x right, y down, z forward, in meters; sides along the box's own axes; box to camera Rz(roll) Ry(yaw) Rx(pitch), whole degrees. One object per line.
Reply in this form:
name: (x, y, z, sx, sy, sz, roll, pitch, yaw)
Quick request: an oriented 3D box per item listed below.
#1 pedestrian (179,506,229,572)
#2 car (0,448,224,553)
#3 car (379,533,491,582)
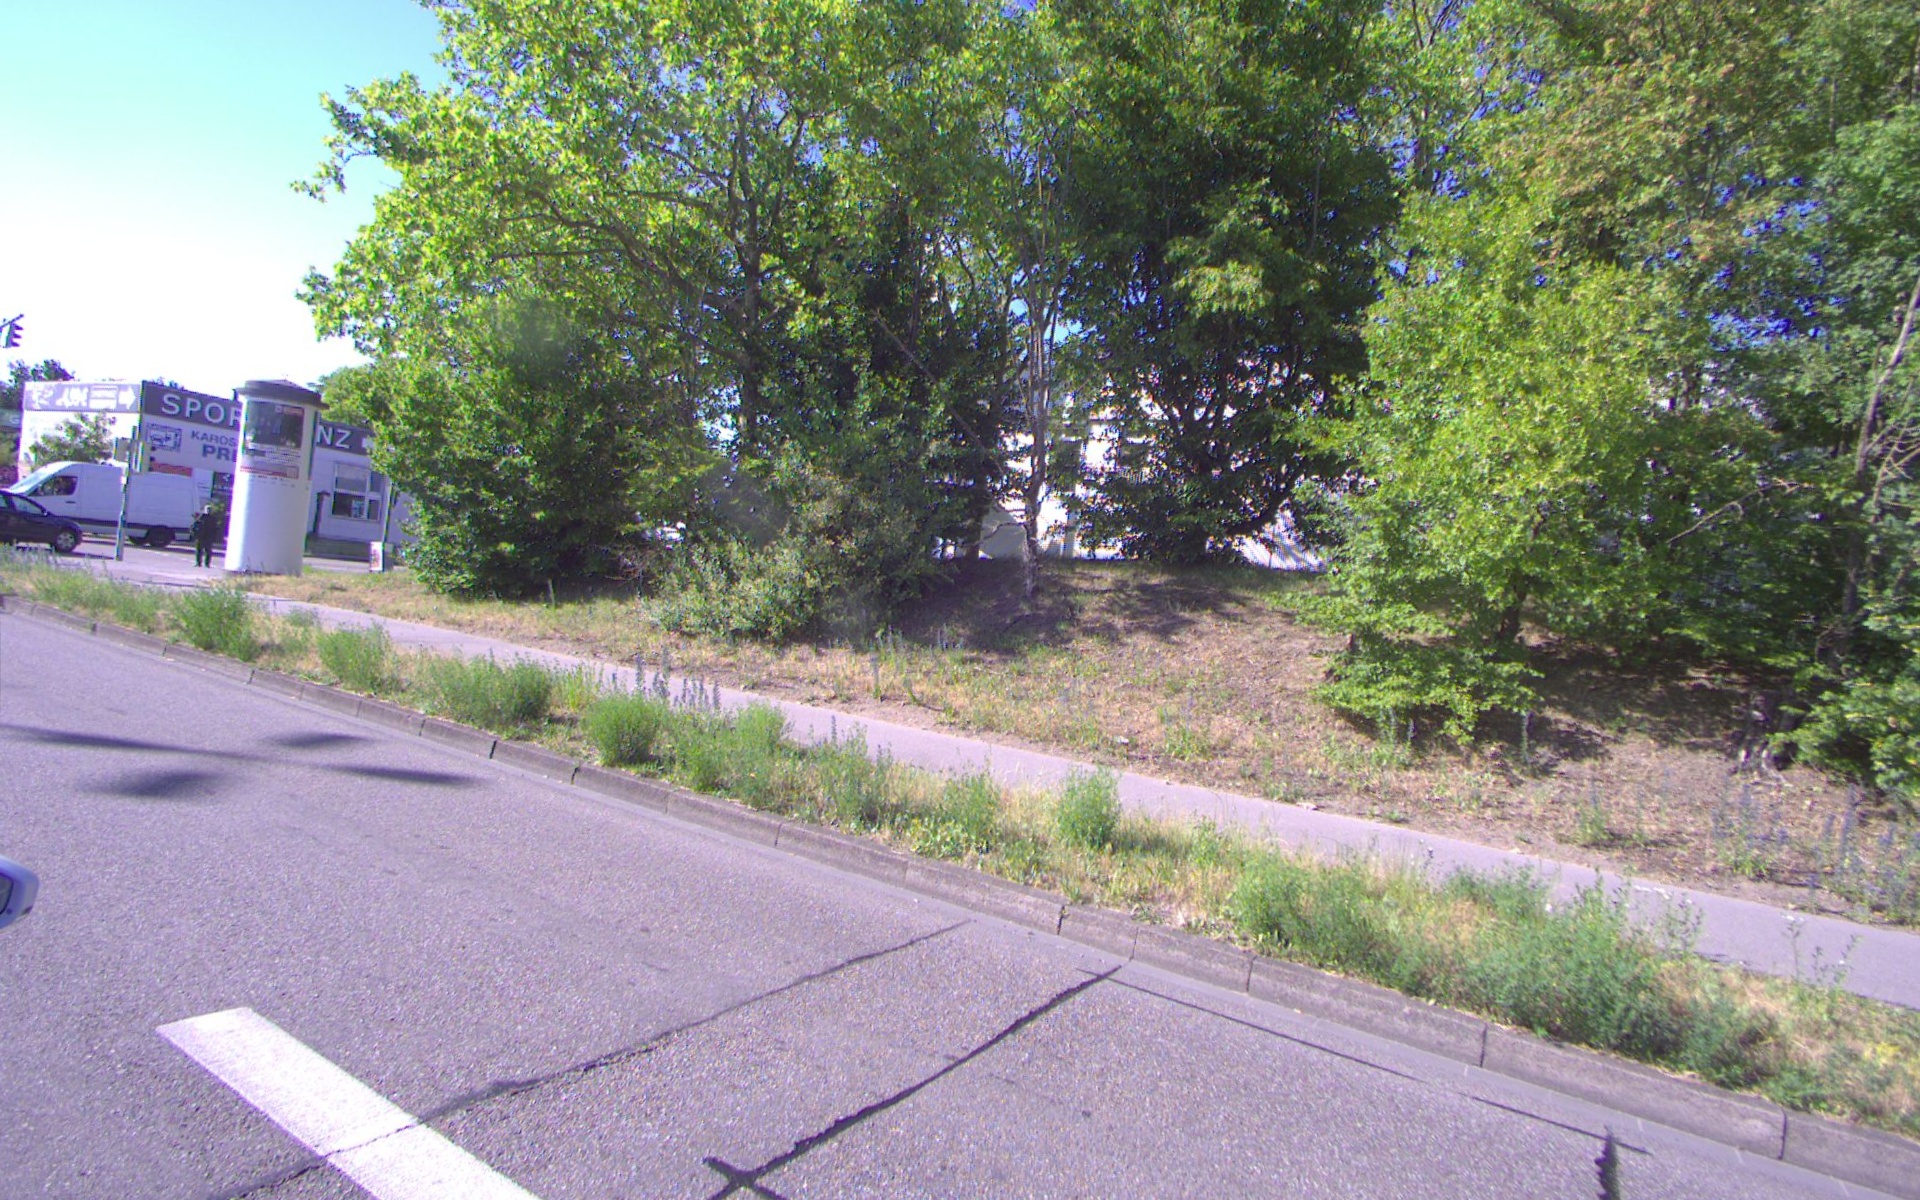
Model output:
pedestrian: (-21.010, -1.690, 27.971, 0.506, 1.688, 0.818, 6, -1, 31)
car: (-29.297, -3.339, 34.709, 1.967, 2.706, 5.840, 6, 0, 32)
car: (-23.733, -1.894, 45.579, 1.848, 1.525, 3.995, 6, -2, 32)
